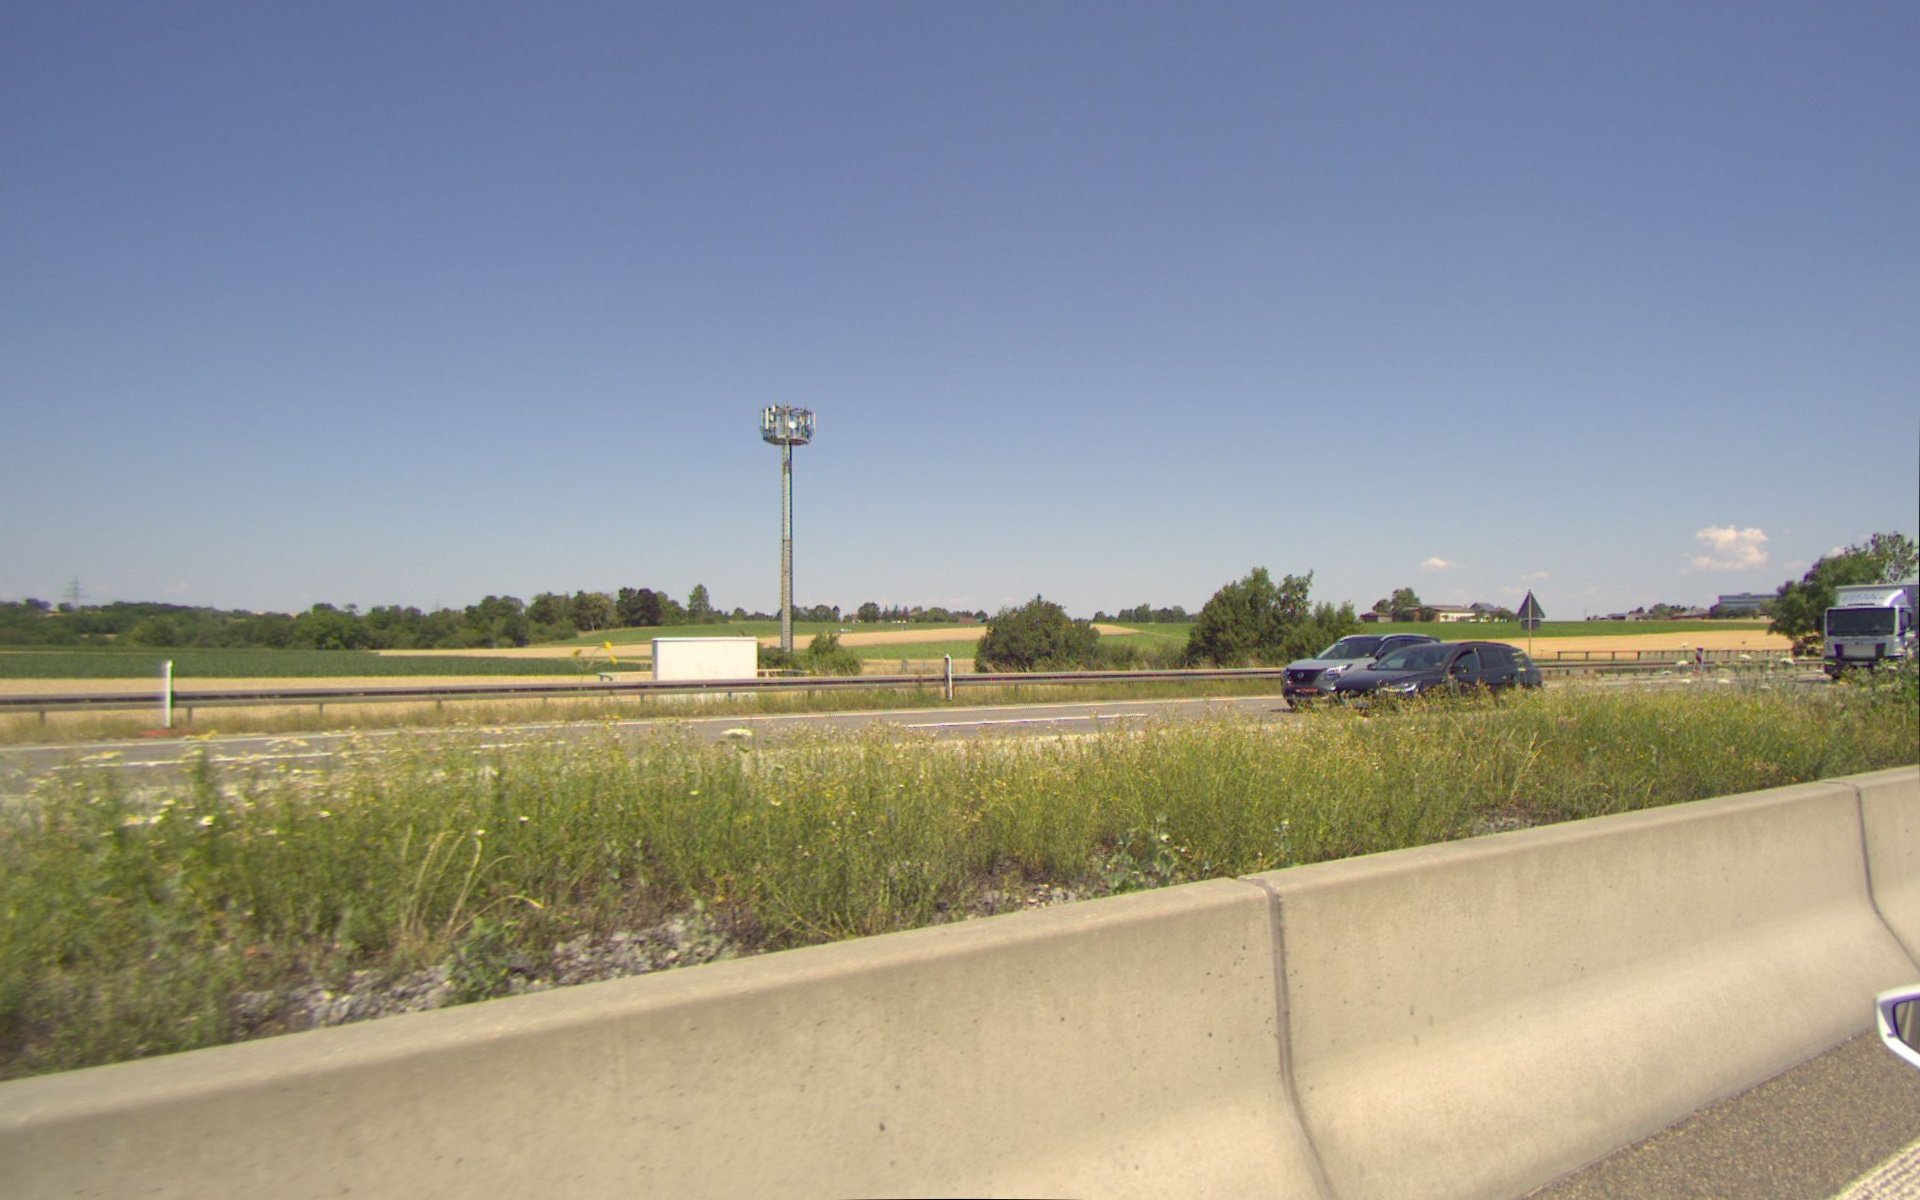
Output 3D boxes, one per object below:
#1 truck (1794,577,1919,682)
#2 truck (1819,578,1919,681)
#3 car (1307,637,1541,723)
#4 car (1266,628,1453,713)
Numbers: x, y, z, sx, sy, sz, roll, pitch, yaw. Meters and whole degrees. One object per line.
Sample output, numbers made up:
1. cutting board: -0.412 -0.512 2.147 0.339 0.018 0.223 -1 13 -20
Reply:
1. truck: 33.205 1.115 36.854 3.952 3.634 2.687 1 -3 -29
2. truck: 37.098 1.183 39.076 8.680 3.667 2.688 1 -3 -29
3. car: 8.361 1.365 17.998 4.234 1.341 1.822 1 -3 -33
4. car: 8.988 1.547 22.566 4.033 1.742 1.824 1 -3 -31
